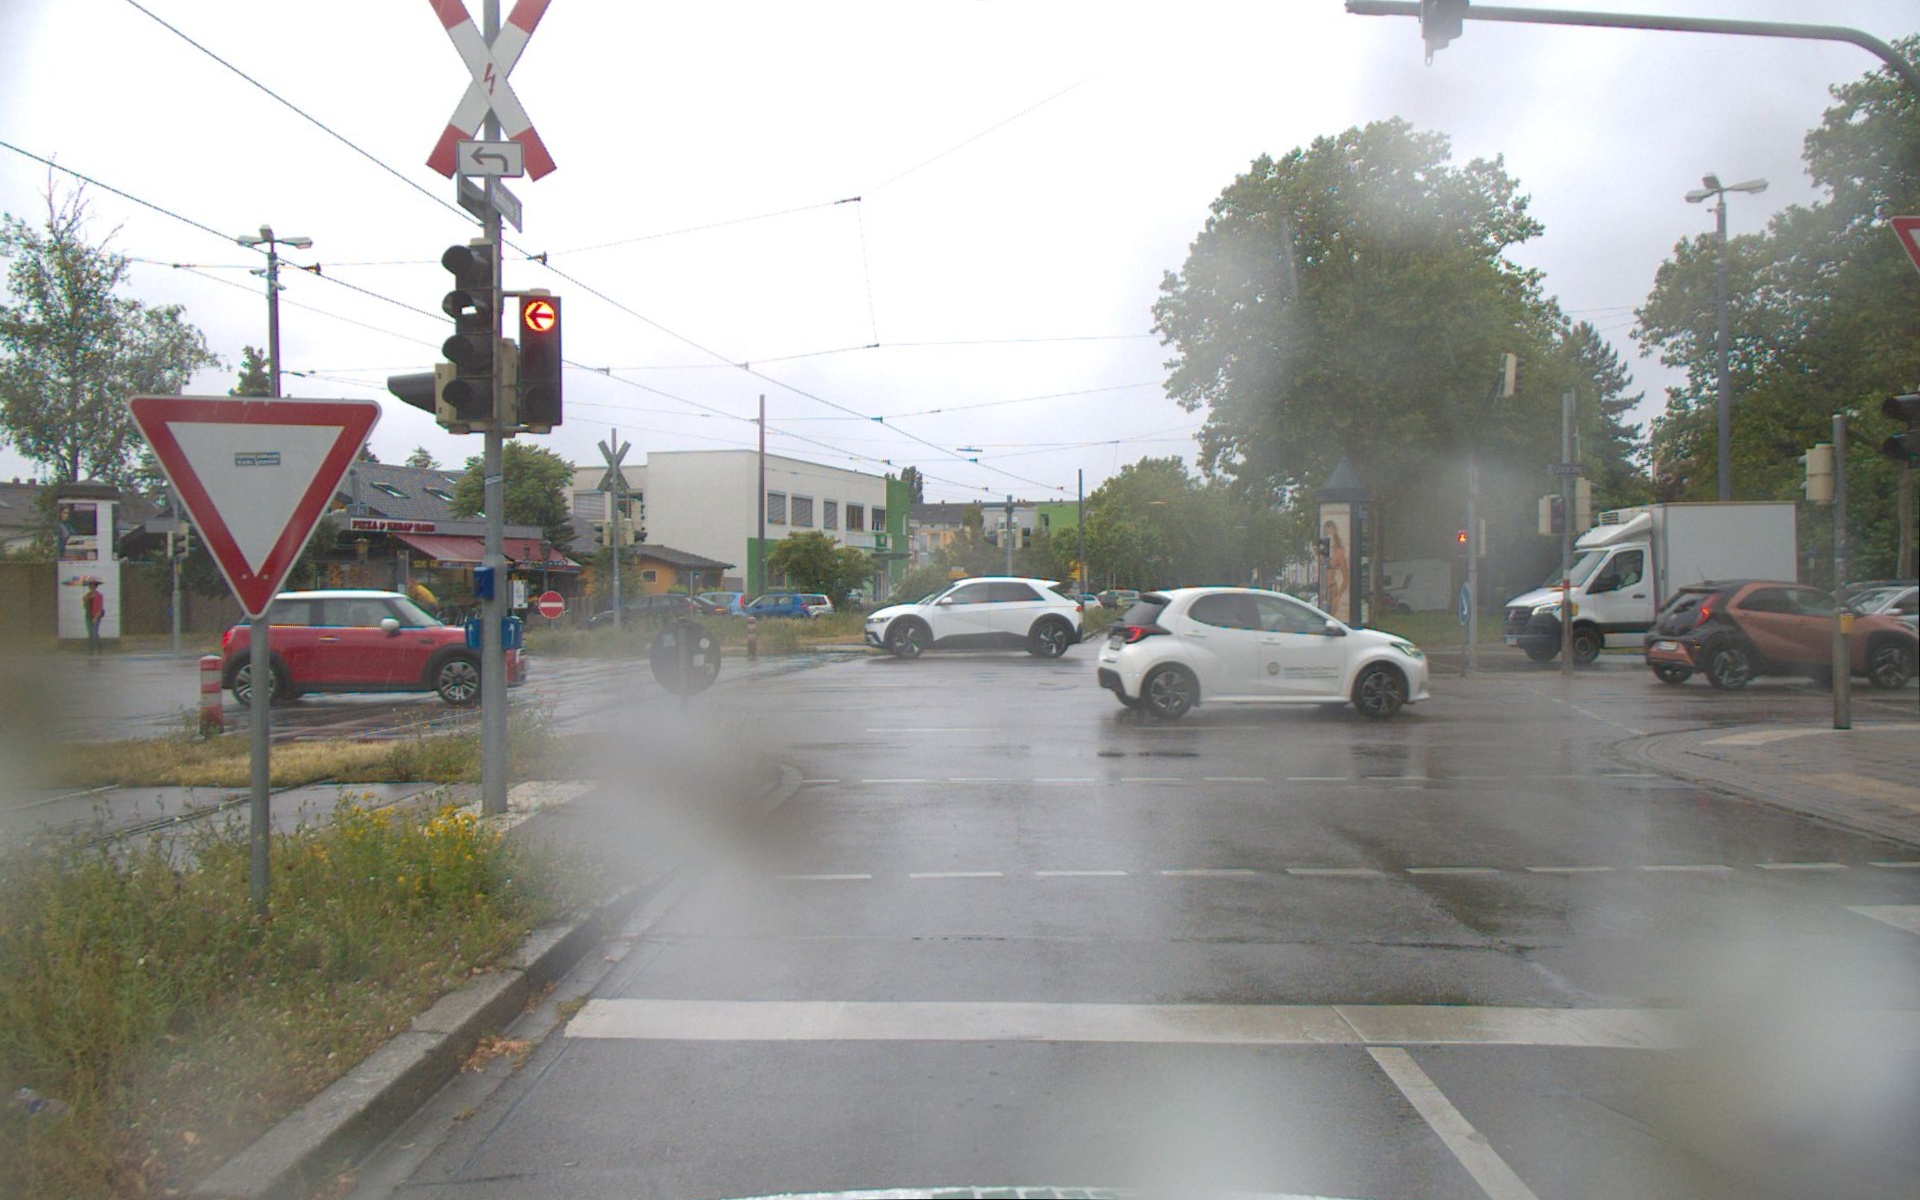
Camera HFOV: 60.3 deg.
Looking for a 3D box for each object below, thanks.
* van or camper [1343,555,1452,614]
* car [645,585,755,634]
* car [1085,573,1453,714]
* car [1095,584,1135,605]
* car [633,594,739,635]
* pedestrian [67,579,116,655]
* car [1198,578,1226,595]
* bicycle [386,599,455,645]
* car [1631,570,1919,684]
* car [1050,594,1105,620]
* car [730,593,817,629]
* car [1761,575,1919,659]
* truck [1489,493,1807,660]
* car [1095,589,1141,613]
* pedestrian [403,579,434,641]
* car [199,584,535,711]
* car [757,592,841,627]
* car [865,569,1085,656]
[{"bbox_3d":[21.644,-0.786,81.749,5.110,2.744,2.244,1,1,17],"label":"van or camper"},{"bbox_3d":[-10.411,0.375,66.371,4.047,1.892,1.674,-1,0,5],"label":"car"},{"bbox_3d":[3.611,0.489,19.683,3.988,1.525,1.649,-1,0,-7],"label":"car"},{"bbox_3d":[16.151,-0.565,172.236,3.902,2.049,1.836,-1,-1,13],"label":"car"},{"bbox_3d":[-10.381,0.533,62.914,3.672,1.467,1.763,-1,0,1],"label":"car"},{"bbox_3d":[-21.008,0.402,40.013,0.893,1.794,0.797,-1,0,44],"label":"pedestrian"},{"bbox_3d":[32.622,-1.763,214.240,3.370,2.049,1.809,-1,0,15],"label":"car"},{"bbox_3d":[-13.262,0.538,40.679,1.528,1.121,0.500,-1,0,6],"label":"bicycle"},{"bbox_3d":[11.922,0.375,23.972,3.744,1.525,1.650,-1,0,-6],"label":"car"},{"bbox_3d":[9.102,0.532,128.484,4.055,1.892,1.671,-1,0,-6],"label":"car"},{"bbox_3d":[-8.062,0.447,71.388,3.680,1.467,1.759,-1,0,-8],"label":"car"},{"bbox_3d":[16.662,0.277,29.058,4.422,1.414,1.643,0,0,-3],"label":"car"},{"bbox_3d":[13.226,-0.446,31.992,5.359,3.112,1.980,0,0,-3],"label":"truck"},{"bbox_3d":[14.002,0.059,146.455,4.047,2.010,1.674,-1,0,5],"label":"car"},{"bbox_3d":[-13.321,0.240,40.683,0.563,1.501,0.500,-1,0,6],"label":"pedestrian"},{"bbox_3d":[-7.596,0.571,21.510,3.835,1.525,1.649,0,1,-9],"label":"car"},{"bbox_3d":[-7.290,0.428,74.695,3.680,1.467,1.759,-1,0,-8],"label":"car"},{"bbox_3d":[0.269,0.249,34.279,4.376,1.685,1.649,-1,0,-7],"label":"car"}]
